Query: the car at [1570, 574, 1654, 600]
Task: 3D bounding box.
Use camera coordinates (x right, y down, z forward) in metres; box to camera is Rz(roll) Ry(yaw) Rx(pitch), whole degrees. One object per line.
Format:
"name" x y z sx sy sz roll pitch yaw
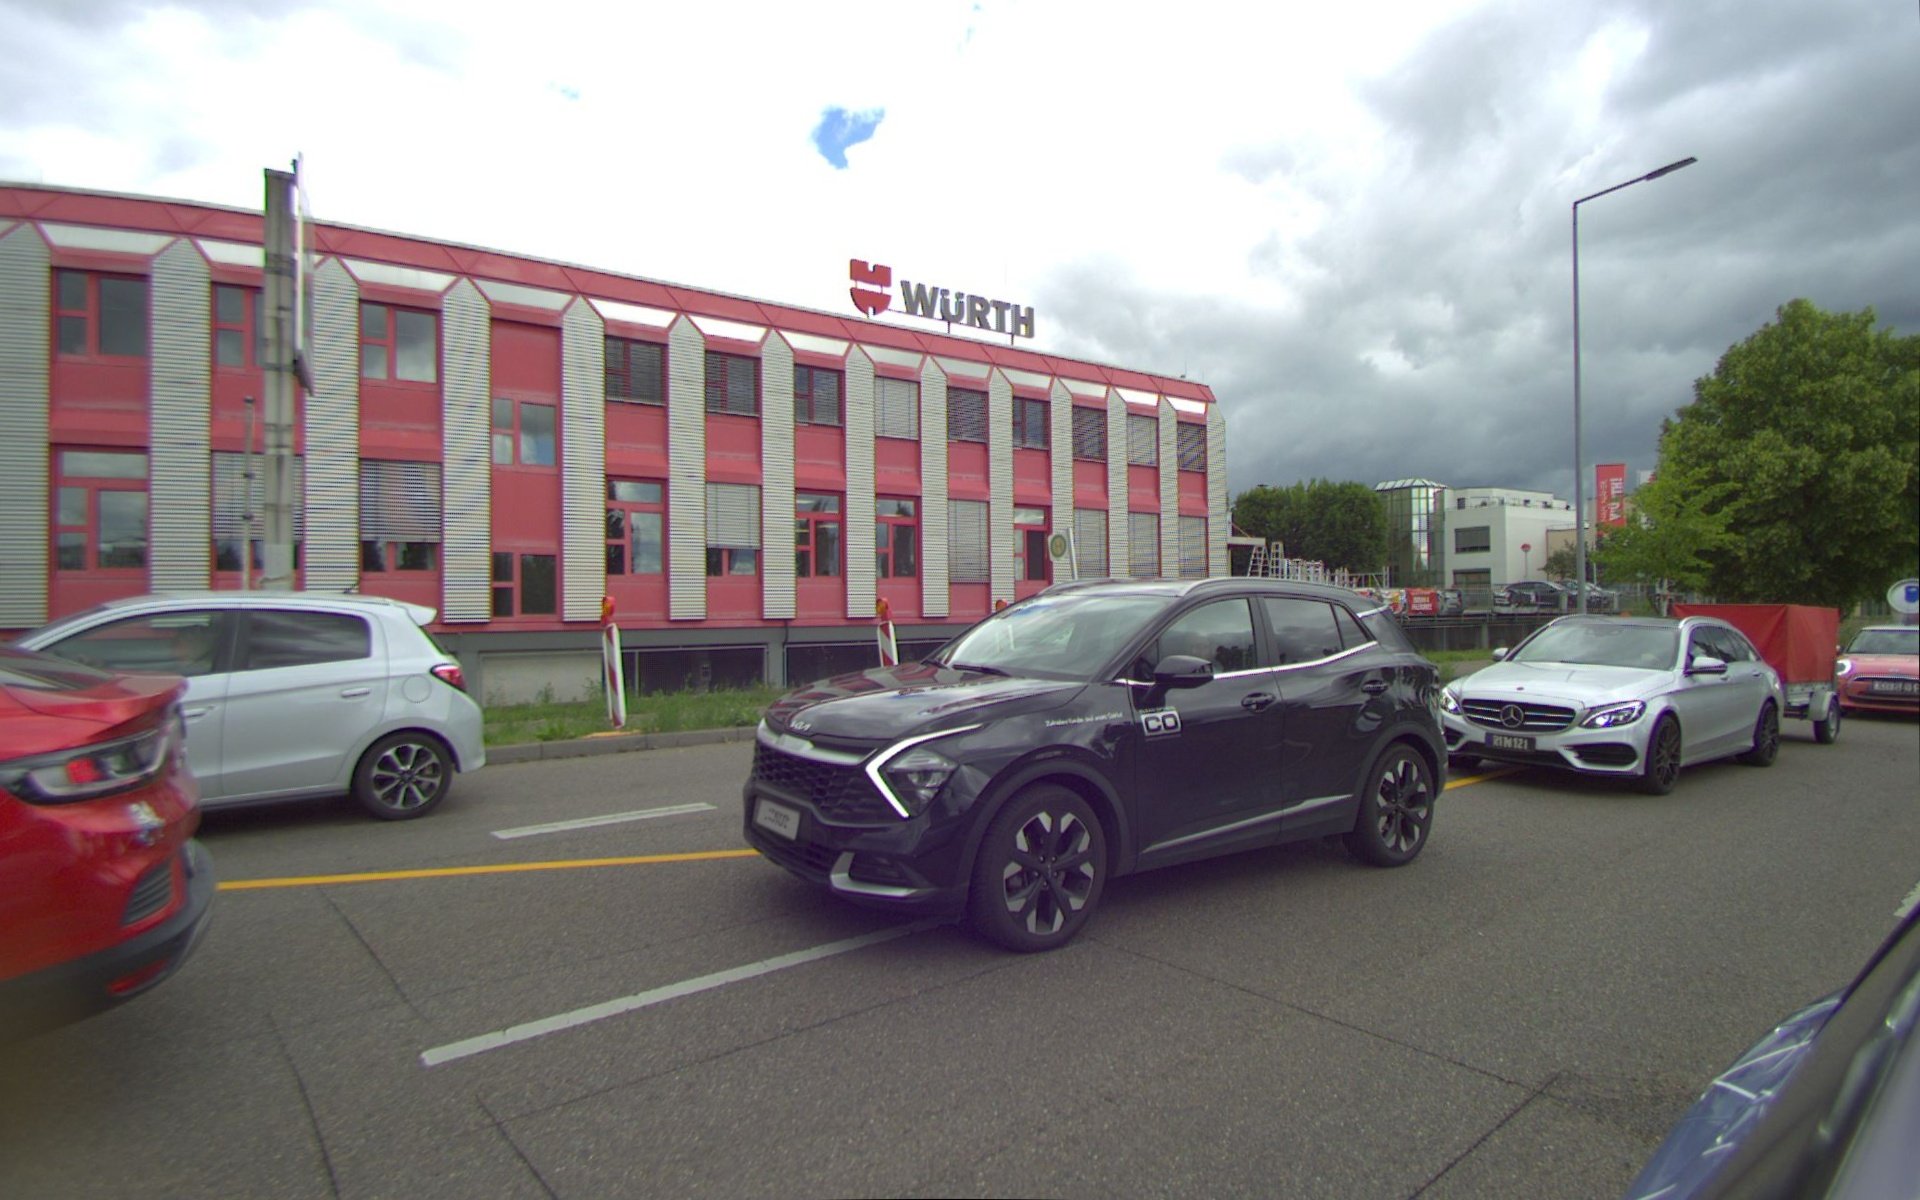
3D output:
"car" 39.365 -0.779 61.161 1.721 1.501 3.942 1 0 -31

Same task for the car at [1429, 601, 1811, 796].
"car" 6.446 0.768 9.691 4.405 1.466 1.676 1 0 -37

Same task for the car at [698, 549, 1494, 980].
"car" 0.938 0.604 5.699 4.319 1.581 1.851 0 0 -34

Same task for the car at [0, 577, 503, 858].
"car" -5.044 0.623 6.393 3.624 1.476 1.626 1 -1 -41

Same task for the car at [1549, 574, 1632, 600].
"car" 36.898 -0.732 59.261 1.720 1.382 3.769 3 -2 -31

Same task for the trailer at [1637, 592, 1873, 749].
"trailer" 9.491 0.750 12.021 3.241 1.614 1.413 1 0 -37

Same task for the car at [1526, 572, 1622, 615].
"car" 30.579 -0.268 50.484 1.610 1.984 3.769 3 -3 -31

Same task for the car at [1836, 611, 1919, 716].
"car" 14.875 0.918 15.653 3.635 1.476 1.720 1 0 -44

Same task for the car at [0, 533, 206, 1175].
"car" -4.190 0.596 2.063 4.239 1.543 1.712 0 0 -37
